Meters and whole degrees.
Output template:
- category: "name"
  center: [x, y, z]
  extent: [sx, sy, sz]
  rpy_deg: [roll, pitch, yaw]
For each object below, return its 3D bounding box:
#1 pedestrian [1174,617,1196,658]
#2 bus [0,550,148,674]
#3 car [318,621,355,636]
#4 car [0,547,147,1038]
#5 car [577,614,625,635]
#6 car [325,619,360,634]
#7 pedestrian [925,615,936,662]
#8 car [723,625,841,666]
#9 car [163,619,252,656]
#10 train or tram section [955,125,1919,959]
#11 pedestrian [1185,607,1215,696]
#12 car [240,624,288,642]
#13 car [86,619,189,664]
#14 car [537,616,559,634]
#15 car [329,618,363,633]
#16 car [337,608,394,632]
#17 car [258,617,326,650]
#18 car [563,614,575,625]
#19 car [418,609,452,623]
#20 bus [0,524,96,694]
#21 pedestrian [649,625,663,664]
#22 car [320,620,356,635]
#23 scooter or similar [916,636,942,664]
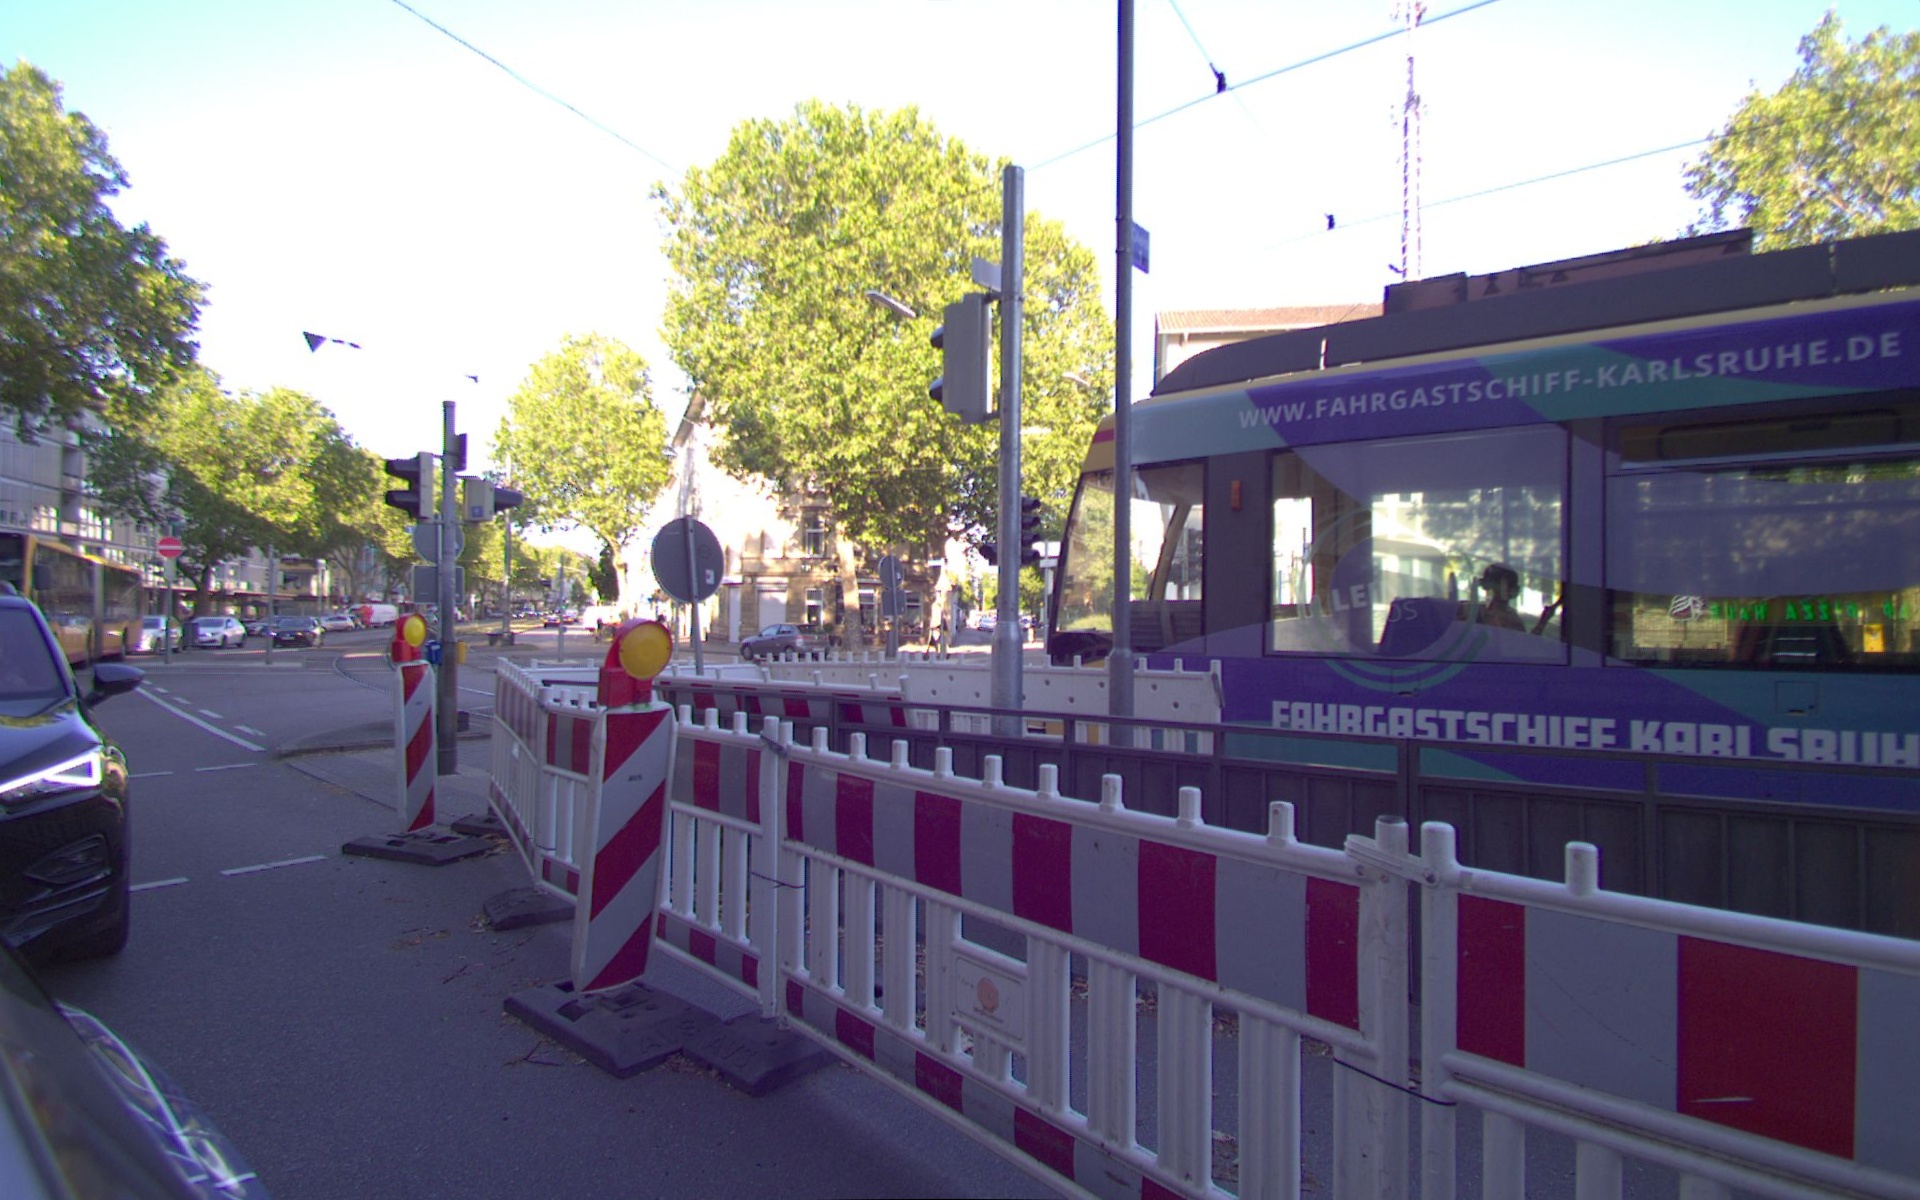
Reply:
- category: "pedestrian"
  center: [7.671, 1.272, 34.547]
  extent: [0.626, 1.367, 0.531]
  rpy_deg: [-1, -2, 27]
- category: "bus"
  center: [-26.350, 0.383, 29.791]
  extent: [2.708, 3.127, 9.523]
  rpy_deg: [1, -2, -32]
- category: "car"
  center: [-54.922, 2.493, 89.167]
  extent: [1.201, 1.290, 2.592]
  rpy_deg: [0, -1, 43]
- category: "car"
  center: [-5.164, 0.688, 4.590]
  extent: [4.300, 1.670, 1.823]
  rpy_deg: [-1, -1, 45]
- category: "car"
  center: [-34.230, 2.311, 96.541]
  extent: [1.994, 1.929, 3.954]
  rpy_deg: [-1, -2, 33]
- category: "car"
  center: [-58.146, 2.468, 95.263]
  extent: [1.201, 1.399, 2.592]
  rpy_deg: [0, -1, 43]
- category: "pedestrian"
  center: [-1.139, 1.486, 39.173]
  extent: [0.414, 1.780, 0.354]
  rpy_deg: [0, -1, -1]
- category: "car"
  center: [-6.559, 1.651, 37.284]
  extent: [3.981, 1.420, 1.867]
  rpy_deg: [0, -2, 28]
- category: "car"
  center: [-34.657, 1.685, 46.746]
  extent: [1.923, 1.562, 4.771]
  rpy_deg: [1, -1, -19]
- category: "train or tram section"
  center: [4.968, -0.235, 5.332]
  extent: [10.314, 3.514, 2.811]
  rpy_deg: [-1, -1, 35]
- category: "pedestrian"
  center: [4.745, 1.005, 19.987]
  extent: [0.539, 1.710, 0.515]
  rpy_deg: [0, -2, 18]
- category: "car"
  center: [-50.896, 2.411, 74.022]
  extent: [1.198, 1.226, 2.599]
  rpy_deg: [0, -1, 34]
- category: "car"
  center: [-30.647, 1.505, 37.841]
  extent: [1.880, 1.486, 4.433]
  rpy_deg: [1, -1, -24]
- category: "car"
  center: [-44.616, 2.672, 109.703]
  extent: [1.965, 1.881, 4.012]
  rpy_deg: [1, -1, -19]
- category: "car"
  center: [-59.507, 2.464, 98.056]
  extent: [1.201, 1.355, 2.592]
  rpy_deg: [0, -1, 43]
- category: "car"
  center: [-61.615, 2.034, 104.992]
  extent: [1.873, 2.394, 4.817]
  rpy_deg: [0, -1, 30]
- category: "car"
  center: [-32.110, 1.578, 48.789]
  extent: [1.923, 1.486, 4.772]
  rpy_deg: [1, -1, -24]
- category: "car"
  center: [-66.994, 3.324, 173.339]
  extent: [1.875, 1.918, 4.013]
  rpy_deg: [1, -1, -21]
- category: "car"
  center: [-77.512, 2.436, 149.450]
  extent: [1.874, 2.029, 3.956]
  rpy_deg: [-1, -2, 32]
- category: "bus"
  center: [-21.044, 0.225, 21.941]
  extent: [2.710, 3.127, 9.519]
  rpy_deg: [1, -2, -36]
- category: "pedestrian"
  center: [-10.310, 1.504, 34.320]
  extent: [0.359, 1.318, 0.403]
  rpy_deg: [1, -2, -32]
- category: "car"
  center: [-56.545, 2.506, 92.057]
  extent: [1.201, 1.290, 2.592]
  rpy_deg: [0, -1, 43]
- category: "scooter or similar"
  center: [-1.182, 1.922, 38.926]
  extent: [0.968, 1.047, 0.308]
  rpy_deg: [0, -1, 0]
